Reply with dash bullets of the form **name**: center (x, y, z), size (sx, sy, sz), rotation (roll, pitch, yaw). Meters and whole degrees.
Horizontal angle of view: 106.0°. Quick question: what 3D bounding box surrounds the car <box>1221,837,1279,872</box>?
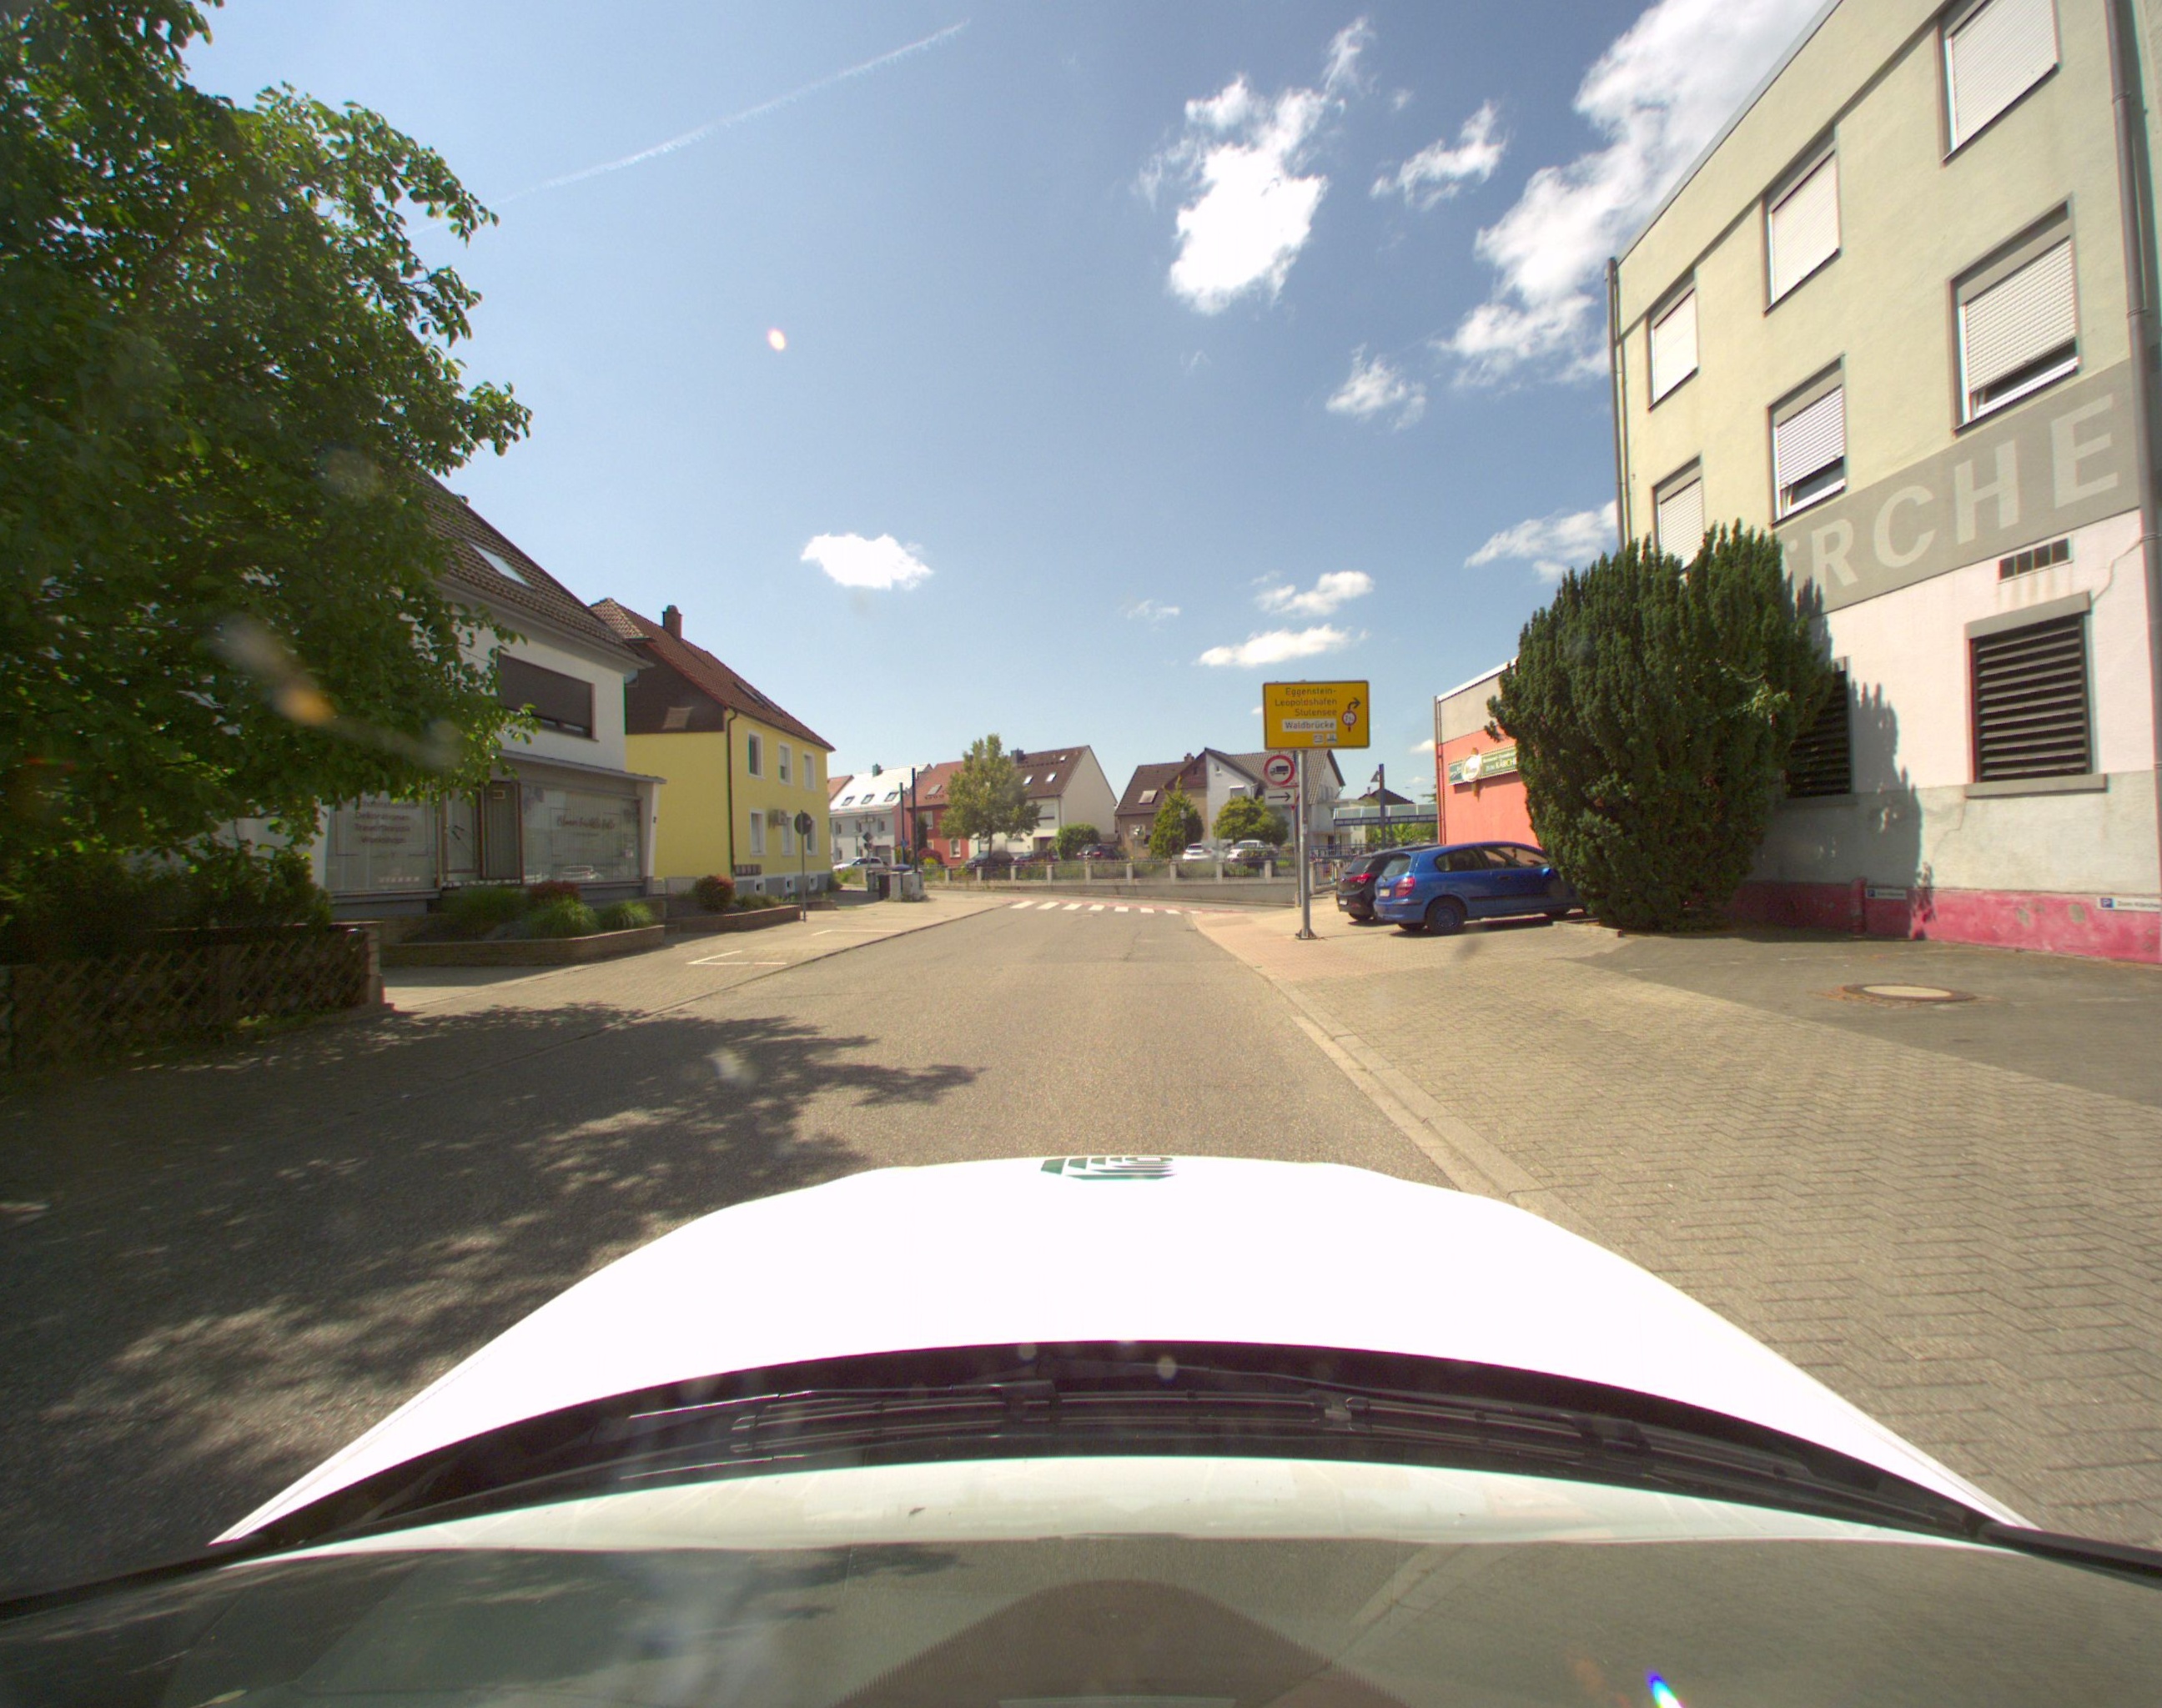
- **car**: center (9.581, 0.071, 45.991), size (1.975, 1.797, 4.222), rotation (2, 0, 29)

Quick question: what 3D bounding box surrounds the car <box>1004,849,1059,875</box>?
- **car**: center (-3.188, 0.526, 53.118), size (1.850, 1.586, 3.631), rotation (2, 0, 29)

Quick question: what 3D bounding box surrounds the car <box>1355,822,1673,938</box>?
- **car**: center (7.132, 0.448, 13.760), size (4.307, 1.440, 1.780), rotation (-5, -3, 1)

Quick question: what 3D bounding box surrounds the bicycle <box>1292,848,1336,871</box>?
- **bicycle**: center (11.810, 0.299, 41.229), size (2.096, 1.126, 0.335), rotation (-1, 0, 22)

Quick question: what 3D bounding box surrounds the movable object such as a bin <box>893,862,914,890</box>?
- **movable object such as a bin**: center (-7.961, 0.974, 36.607), size (0.840, 1.213, 1.272), rotation (-1, -1, -10)

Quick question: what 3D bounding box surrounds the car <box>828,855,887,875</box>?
- **car**: center (-17.711, 0.885, 64.656), size (1.725, 1.488, 4.283), rotation (2, -1, 35)

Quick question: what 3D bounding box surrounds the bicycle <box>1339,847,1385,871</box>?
- **bicycle**: center (13.928, 0.257, 40.364), size (2.096, 1.126, 0.394), rotation (-1, 0, 22)

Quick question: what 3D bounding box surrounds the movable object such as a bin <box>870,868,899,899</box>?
- **movable object such as a bin**: center (-8.010, 1.210, 33.236), size (0.881, 1.225, 0.903), rotation (-1, -1, 4)

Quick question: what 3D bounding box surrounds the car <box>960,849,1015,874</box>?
- **car**: center (-6.322, 0.541, 55.241), size (1.850, 1.586, 3.631), rotation (2, 0, 29)

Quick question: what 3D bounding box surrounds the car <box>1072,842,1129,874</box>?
- **car**: center (1.289, 0.280, 50.982), size (1.850, 1.797, 4.024), rotation (2, 0, 29)

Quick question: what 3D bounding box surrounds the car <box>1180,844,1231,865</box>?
- **car**: center (7.235, 0.045, 47.179), size (1.808, 1.020, 3.480), rotation (2, 0, 29)

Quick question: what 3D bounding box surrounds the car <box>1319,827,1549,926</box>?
- **car**: center (7.248, 0.467, 17.026), size (3.883, 1.490, 1.809), rotation (-7, -2, 0)
